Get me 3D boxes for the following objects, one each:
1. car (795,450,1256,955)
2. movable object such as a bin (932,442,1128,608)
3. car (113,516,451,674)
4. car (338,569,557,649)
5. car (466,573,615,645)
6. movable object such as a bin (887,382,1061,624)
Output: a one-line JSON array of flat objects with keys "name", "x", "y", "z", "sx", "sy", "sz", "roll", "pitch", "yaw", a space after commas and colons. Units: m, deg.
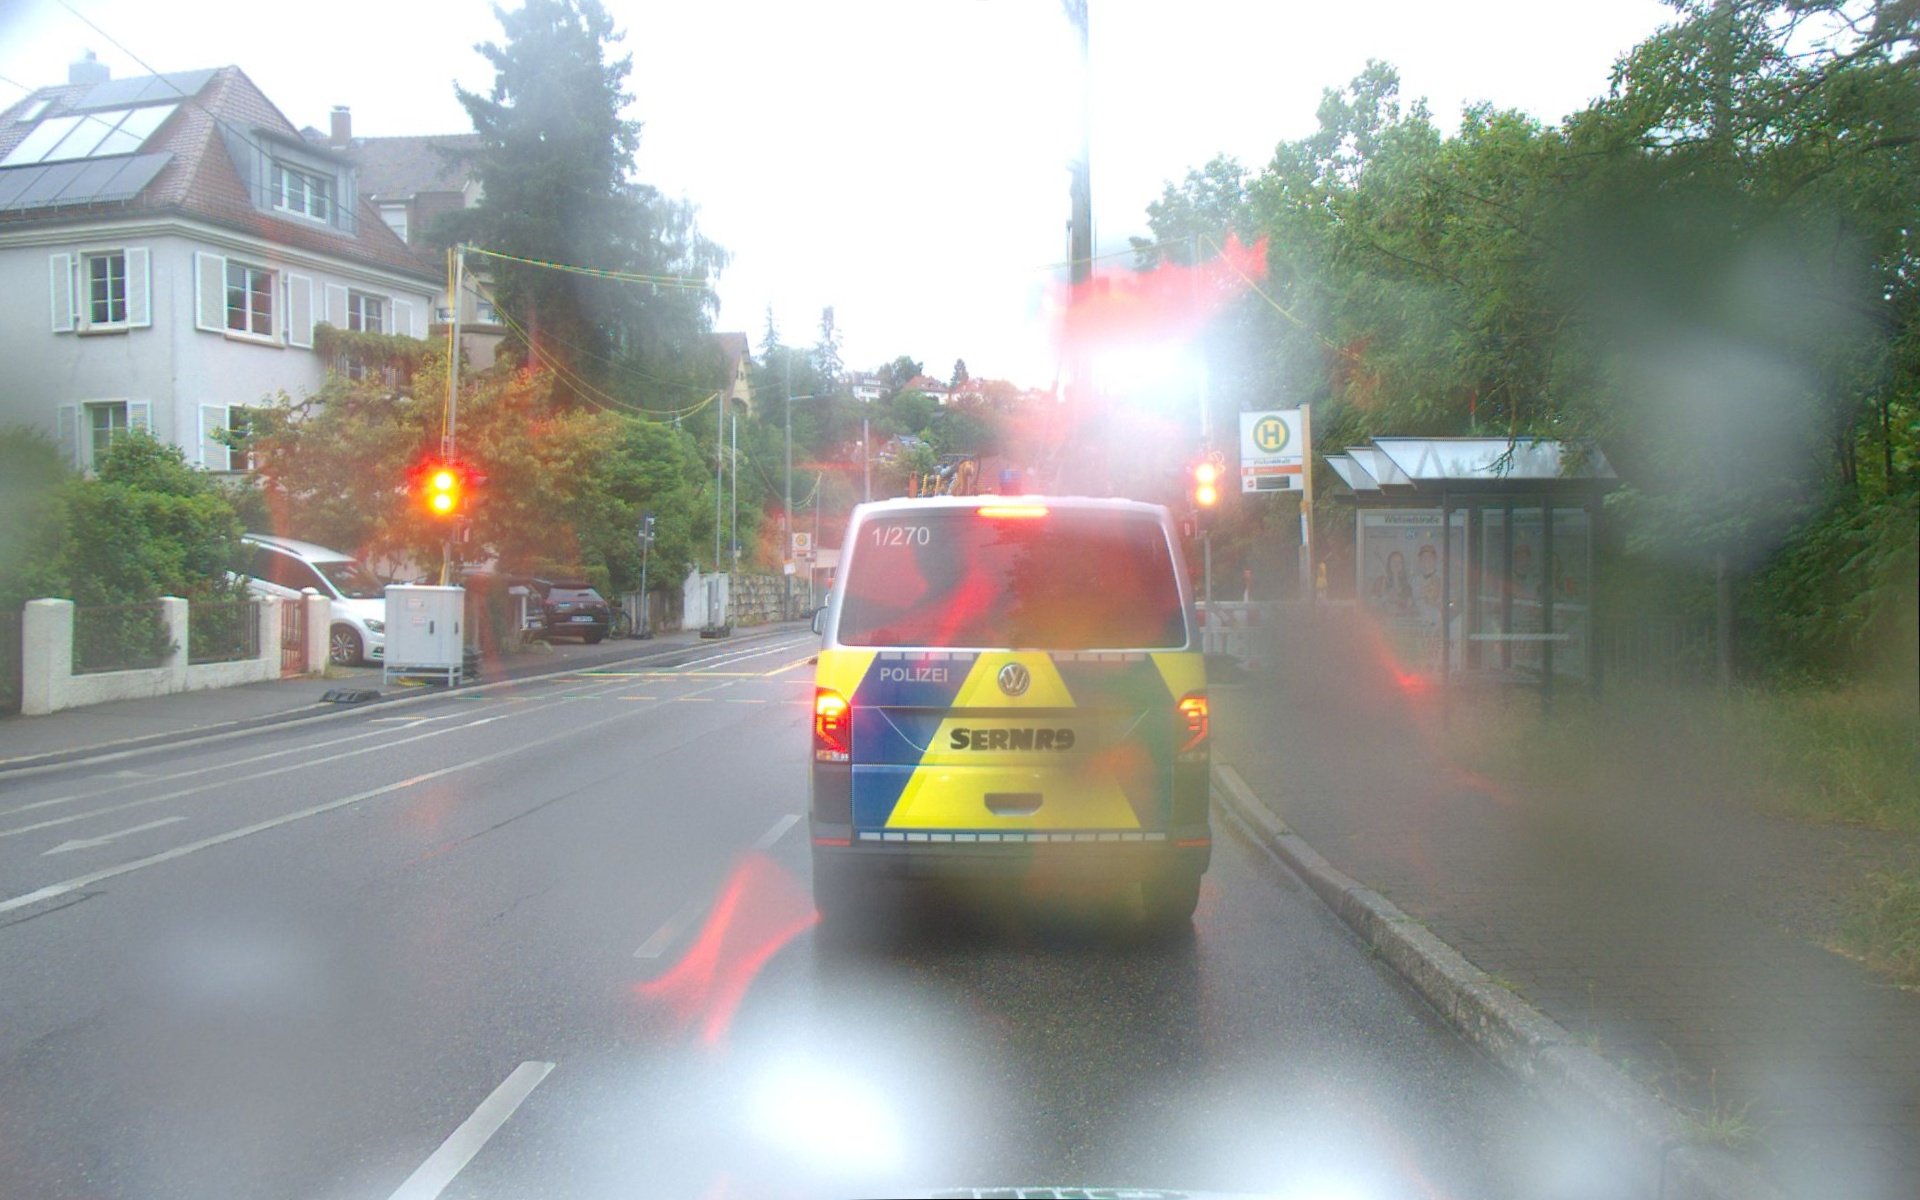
[{"name": "car", "x": 0.240, "y": 0.432, "z": 9.026, "sx": 1.869, "sy": 2.045, "sz": 4.438, "roll": 1, "pitch": 0, "yaw": -1}, {"name": "movable object such as a bin", "x": 2.482, "y": -2.378, "z": 55.905, "sx": 3.615, "sy": 5.155, "sz": 7.147, "roll": -1, "pitch": -1, "yaw": 31}, {"name": "car", "x": -11.225, "y": -0.125, "z": 27.456, "sx": 4.865, "sy": 1.642, "sz": 1.865, "roll": 11, "pitch": 4, "yaw": 13}, {"name": "car", "x": -10.715, "y": 0.178, "z": 34.692, "sx": 3.902, "sy": 1.552, "sz": 1.942, "roll": 1, "pitch": 0, "yaw": 12}, {"name": "car", "x": -9.584, "y": 0.185, "z": 37.618, "sx": 1.769, "sy": 1.552, "sz": 3.943, "roll": 1, "pitch": 0, "yaw": -39}, {"name": "movable object such as a bin", "x": 0.379, "y": -1.761, "z": 31.584, "sx": 2.817, "sy": 4.243, "sz": 4.491, "roll": -1, "pitch": 1, "yaw": 6}]
